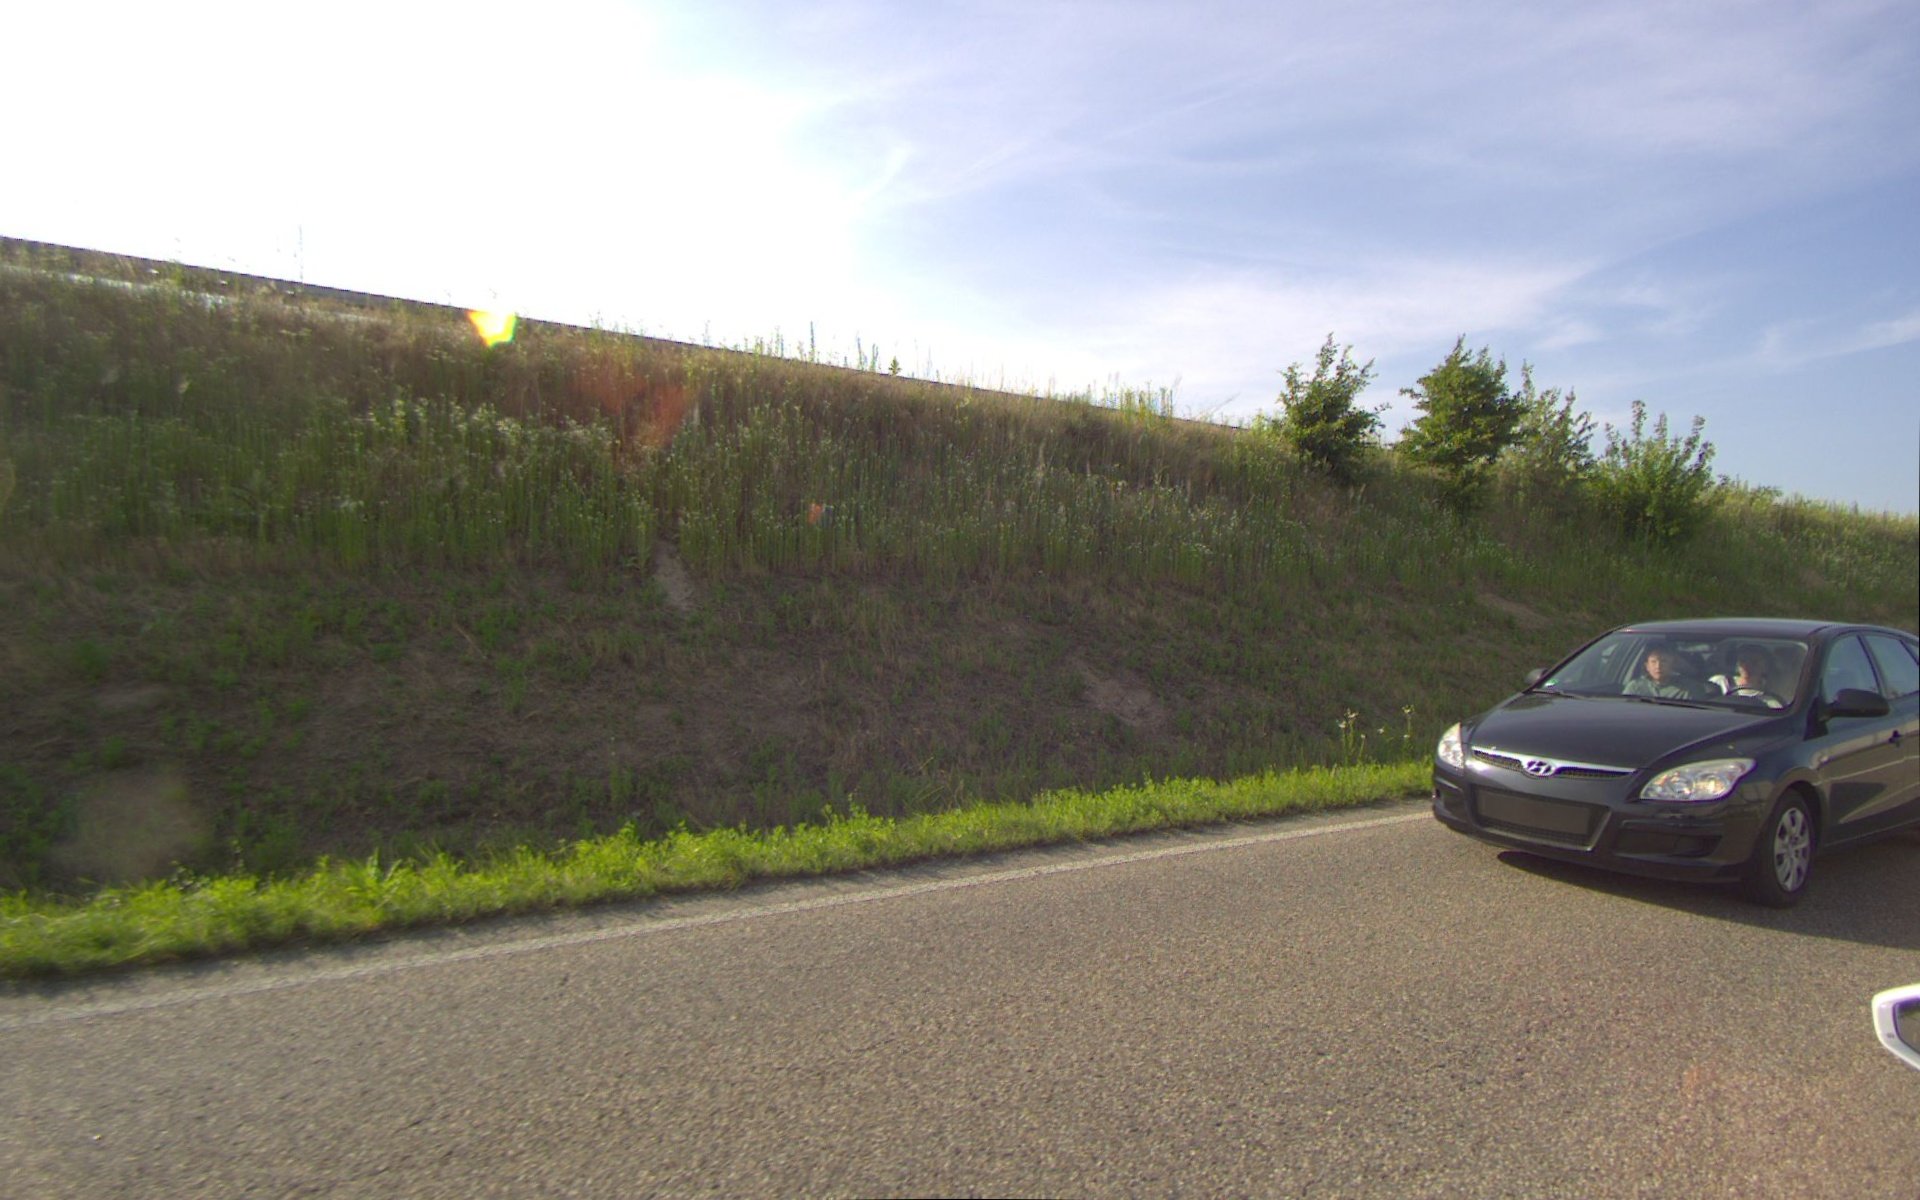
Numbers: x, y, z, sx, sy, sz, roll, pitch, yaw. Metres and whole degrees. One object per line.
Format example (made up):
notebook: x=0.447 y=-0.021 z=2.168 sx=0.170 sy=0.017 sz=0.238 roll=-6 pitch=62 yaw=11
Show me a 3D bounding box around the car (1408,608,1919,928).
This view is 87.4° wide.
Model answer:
car: x=4.906 y=0.828 z=6.462 sx=3.971 sy=1.473 sz=1.708 roll=1 pitch=0 yaw=-30
